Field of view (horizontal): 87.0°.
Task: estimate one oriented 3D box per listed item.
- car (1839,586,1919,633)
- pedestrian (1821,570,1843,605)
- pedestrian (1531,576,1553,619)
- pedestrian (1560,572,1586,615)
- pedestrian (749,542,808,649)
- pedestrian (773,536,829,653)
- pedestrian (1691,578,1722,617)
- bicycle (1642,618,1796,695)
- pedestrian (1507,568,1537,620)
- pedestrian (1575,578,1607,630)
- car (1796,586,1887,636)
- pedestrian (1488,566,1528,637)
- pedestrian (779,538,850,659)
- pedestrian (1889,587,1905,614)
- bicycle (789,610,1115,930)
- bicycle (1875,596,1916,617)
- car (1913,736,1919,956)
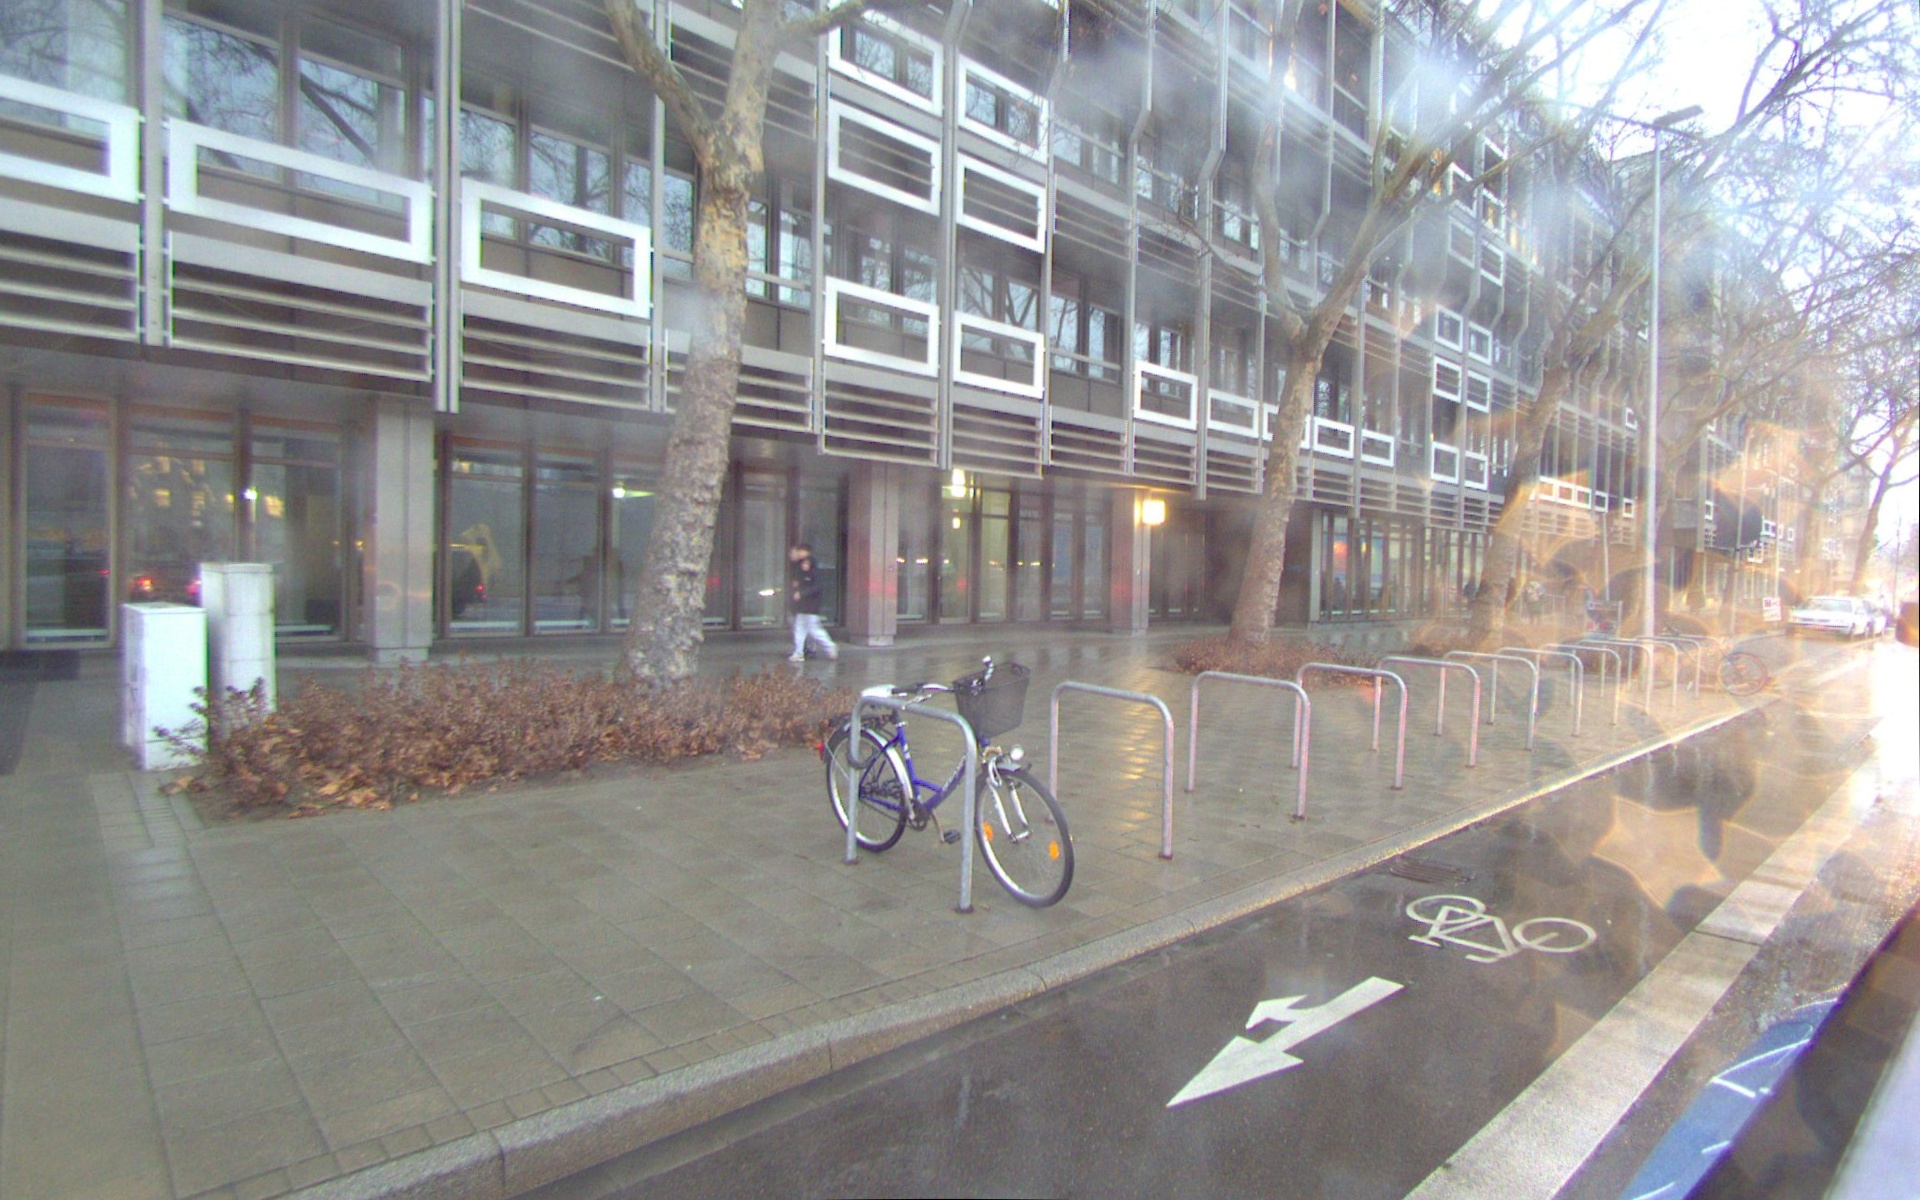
[{"bbox_3d":[35.416,0.396,38.812,3.929,1.504,1.998,4,1,-41],"label":"car"},{"bbox_3d":[50.595,-0.722,58.697,1.007,2.039,0.790,0,1,-41],"label":"pedestrian"},{"bbox_3d":[18.944,-0.082,32.943,0.492,1.386,0.495,2,1,43],"label":"pedestrian"},{"bbox_3d":[24.346,-0.264,40.196,0.828,1.675,0.641,0,1,-40],"label":"pedestrian"},{"bbox_3d":[-2.755,-0.072,15.380,0.733,1.583,0.484,0,1,-42],"label":"pedestrian"},{"bbox_3d":[-2.348,-0.089,14.956,0.701,1.689,0.379,0,1,-41],"label":"pedestrian"},{"bbox_3d":[30.281,-0.105,41.068,0.824,1.543,0.865,0,2,-44],"label":"pedestrian"},{"bbox_3d":[11.648,0.839,15.570,0.607,0.986,1.789,0,3,-45],"label":"bicycle"},{"bbox_3d":[18.679,-0.205,33.644,0.767,1.677,0.617,0,1,-41],"label":"pedestrian"},{"bbox_3d":[19.408,0.113,31.133,0.604,1.563,0.649,0,1,-40],"label":"pedestrian"},{"bbox_3d":[29.422,0.327,33.754,3.859,1.449,1.609,0,4,-39],"label":"car"},{"bbox_3d":[16.098,0.033,29.729,0.723,2.039,0.821,0,1,-43],"label":"pedestrian"},{"bbox_3d":[-2.092,-0.034,14.589,0.858,1.689,0.501,0,2,-41],"label":"pedestrian"},{"bbox_3d":[72.762,0.019,78.587,0.758,2.039,0.837,-1,0,-42],"label":"pedestrian"},{"bbox_3d":[-0.119,0.696,4.842,0.428,1.162,1.752,0,4,-44],"label":"bicycle"},{"bbox_3d":[47.001,0.324,50.872,1.518,1.049,0.462,0,1,42],"label":"bicycle"},{"bbox_3d":[5.923,0.422,4.622,3.930,2.038,1.858,0,2,-41],"label":"car"}]
